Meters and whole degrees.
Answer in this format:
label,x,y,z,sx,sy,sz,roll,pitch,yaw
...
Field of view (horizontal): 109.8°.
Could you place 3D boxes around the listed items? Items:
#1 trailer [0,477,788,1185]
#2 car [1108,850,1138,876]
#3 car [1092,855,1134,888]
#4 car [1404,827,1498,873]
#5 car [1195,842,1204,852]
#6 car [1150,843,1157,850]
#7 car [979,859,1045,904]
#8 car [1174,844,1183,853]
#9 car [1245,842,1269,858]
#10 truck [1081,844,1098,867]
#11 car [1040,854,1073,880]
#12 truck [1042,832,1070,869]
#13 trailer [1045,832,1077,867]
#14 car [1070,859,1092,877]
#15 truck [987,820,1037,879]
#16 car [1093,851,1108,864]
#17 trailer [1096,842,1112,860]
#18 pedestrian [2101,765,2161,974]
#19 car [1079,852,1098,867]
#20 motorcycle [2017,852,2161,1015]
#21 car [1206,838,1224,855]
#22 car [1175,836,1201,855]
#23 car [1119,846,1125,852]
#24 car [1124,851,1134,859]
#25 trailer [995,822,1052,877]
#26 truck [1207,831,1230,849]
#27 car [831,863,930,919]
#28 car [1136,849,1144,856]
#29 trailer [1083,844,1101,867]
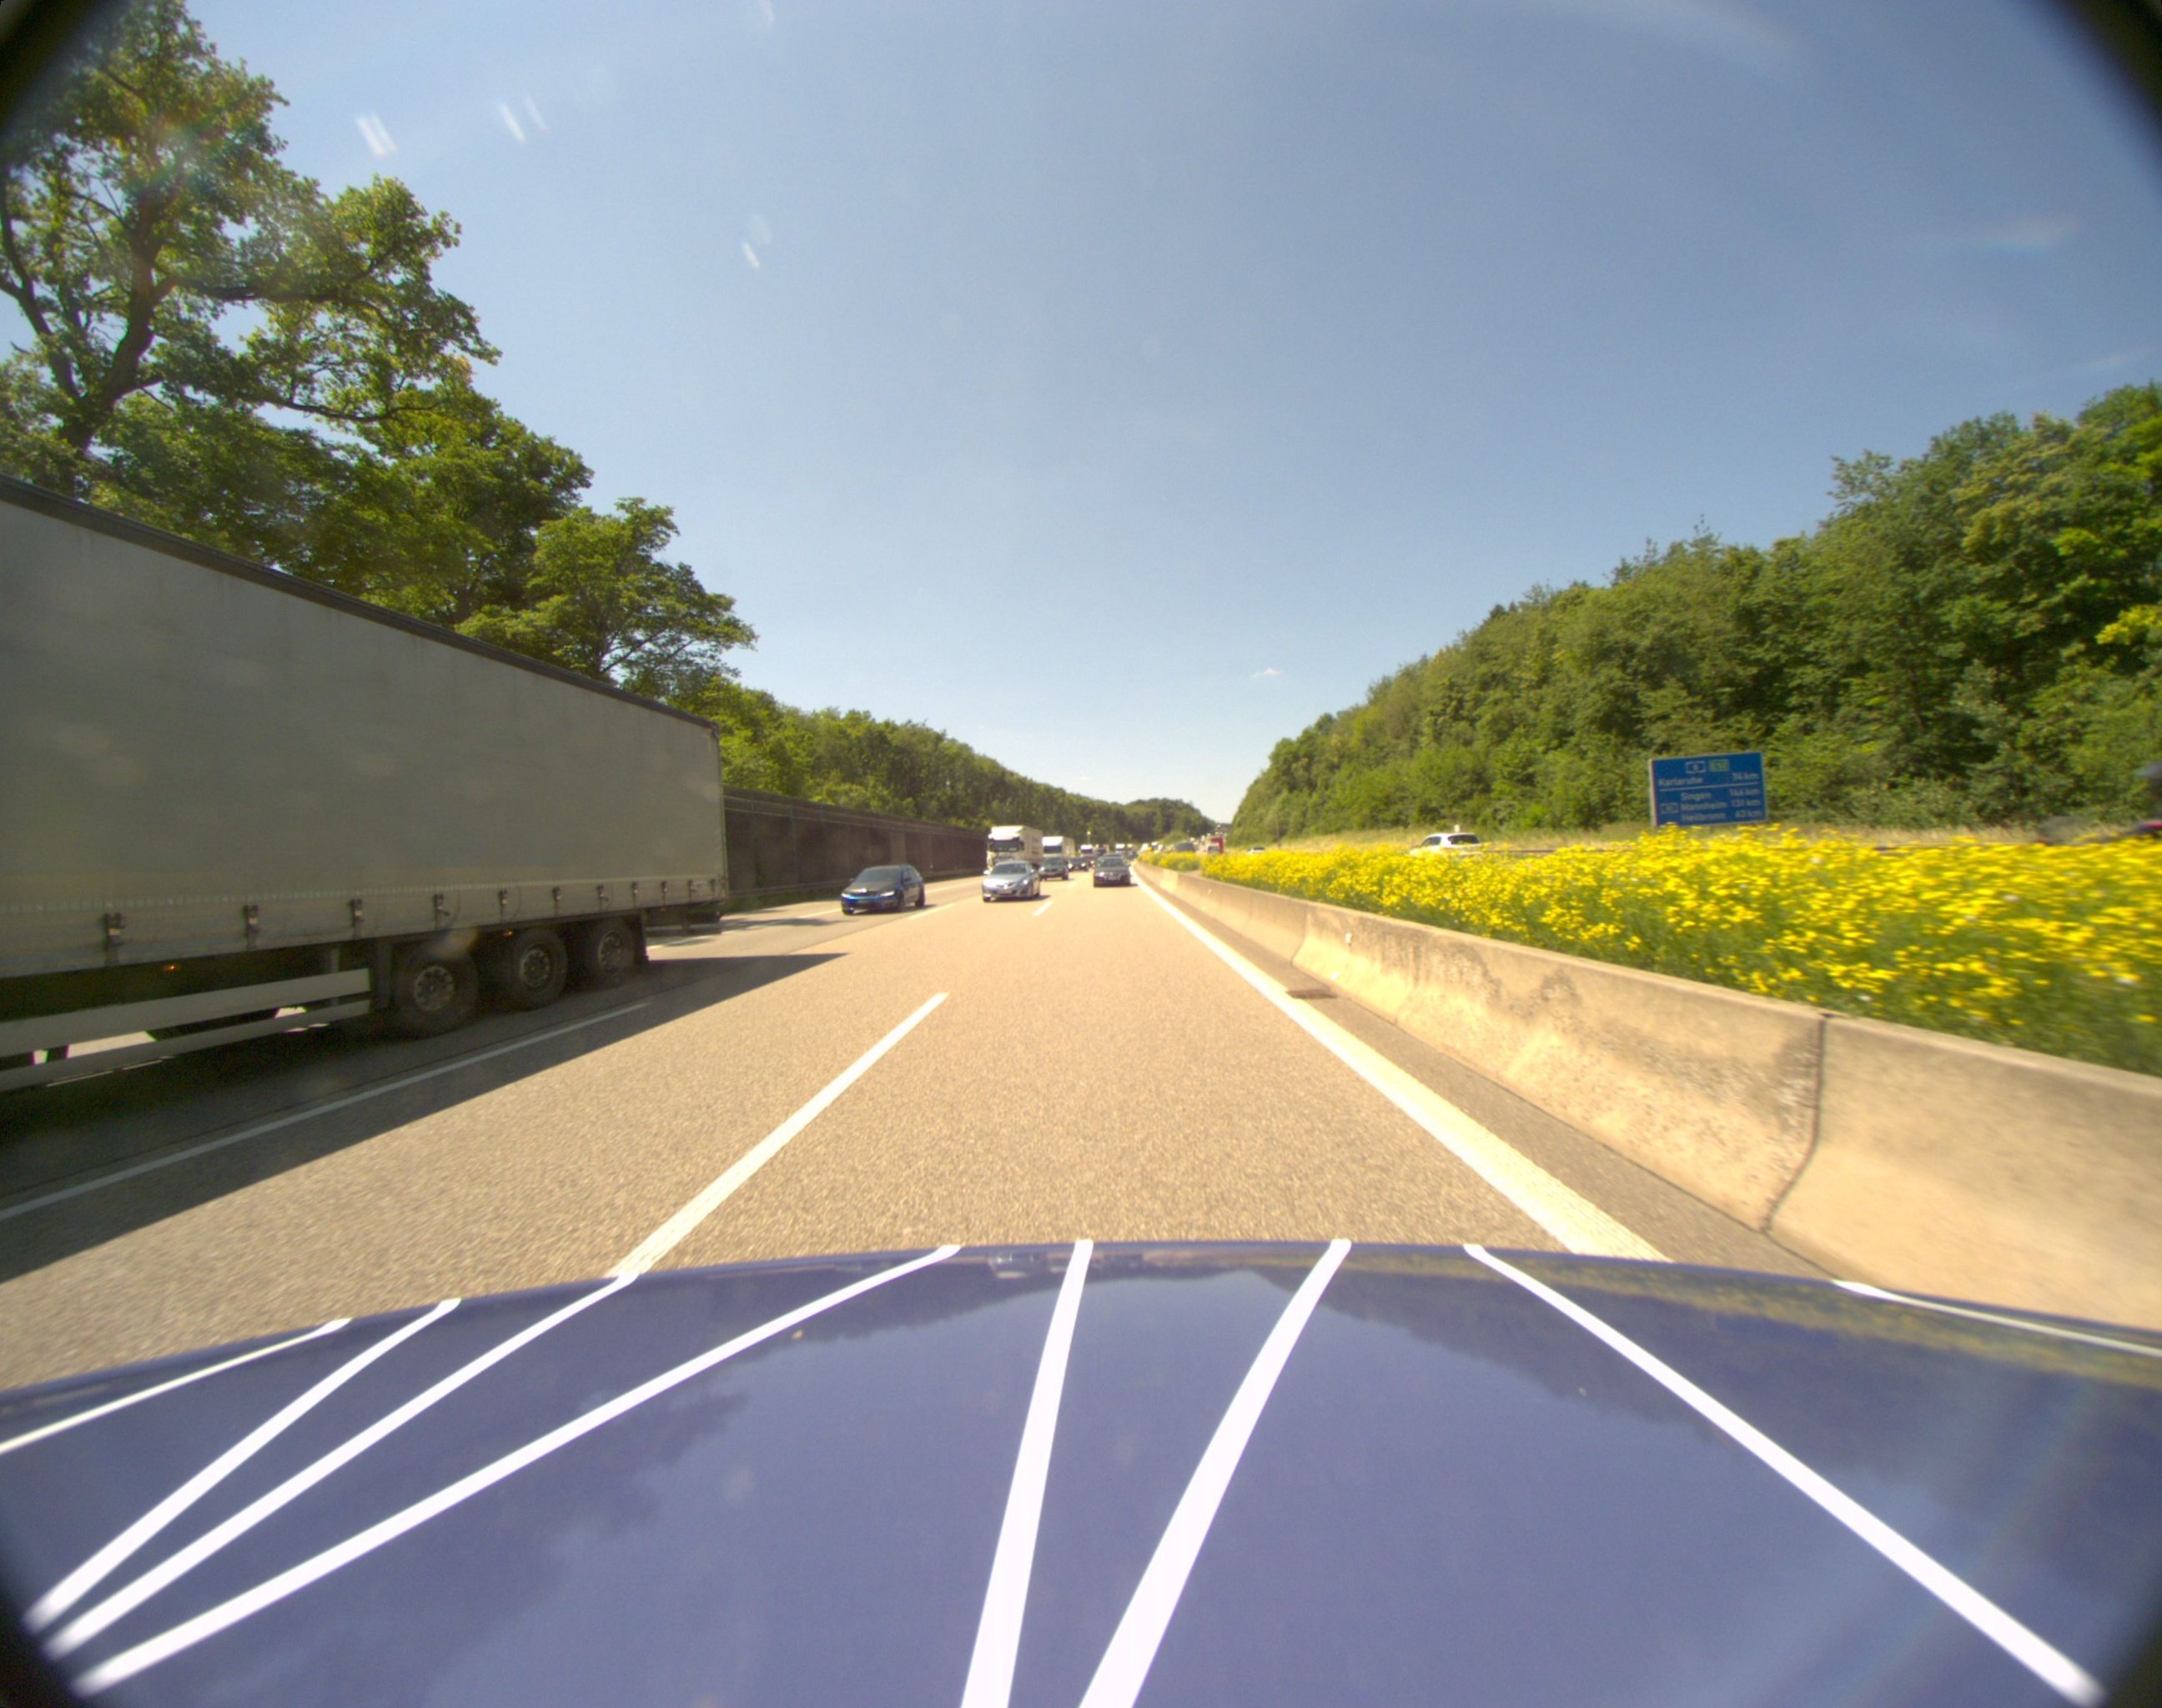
label,x,y,z,sx,sy,sz,roll,pitch,yaw
trailer,-7.403,-0.162,8.344,2.604,4.067,13.590,-2,1,1
car,2.934,0.595,53.859,1.998,1.641,4.000,-2,1,2
car,1.514,0.829,37.290,1.907,1.410,4.000,-3,0,1
car,15.597,-0.161,32.334,1.886,1.755,4.322,-3,0,1
car,32.579,-1.923,208.802,1.998,2.385,4.001,-3,0,5
car,21.937,-2.174,230.858,1.998,2.002,4.001,-3,0,4
car,-2.501,0.971,28.456,1.860,1.426,4.177,-3,0,2
car,26.734,-1.570,208.211,1.998,2.385,4.001,-3,0,5
car,18.746,-0.475,81.130,1.780,1.619,4.118,-2,1,3
truck,1.778,0.285,151.088,2.853,4.382,5.240,-3,0,4
car,-1.581,0.798,50.095,1.907,1.550,4.000,-3,0,1
truck,-2.936,-0.421,91.888,2.544,4.150,4.747,-3,0,6
trailer,-2.438,-0.591,96.593,2.541,4.150,10.180,-3,0,6
car,0.019,1.386,75.727,1.998,1.641,4.000,-3,0,2
truck,-5.308,-0.350,59.187,2.811,4.190,5.422,-3,0,4
car,2.740,0.493,107.103,1.998,1.641,4.000,-3,0,3
trailer,5.529,-0.714,184.618,3.154,4.061,6.185,-3,0,7
pedestrian,7.335,0.089,4.937,0.663,1.357,0.532,-3,1,1
car,0.928,0.641,90.313,1.998,1.641,4.000,-3,0,3
motorcycle,7.360,0.516,4.959,0.668,1.035,1.476,-3,0,1
car,22.389,-1.255,127.274,2.161,2.608,5.976,-2,1,2
car,11.852,-0.932,84.382,2.328,2.002,6.184,-2,1,4
car,13.119,-1.616,243.461,1.998,1.641,4.000,-3,0,3
car,10.339,0.174,164.503,1.998,1.641,4.000,-3,0,3
trailer,-4.802,-0.399,66.498,2.821,4.190,13.467,-3,0,4
truck,30.477,-3.052,168.698,3.929,3.697,16.747,-2,1,7
car,-6.289,1.104,24.363,1.860,1.485,4.177,-3,0,2
car,15.169,-0.434,194.867,1.998,1.641,4.000,-3,0,3
trailer,2.374,0.242,158.120,2.853,4.391,13.030,-3,0,4
